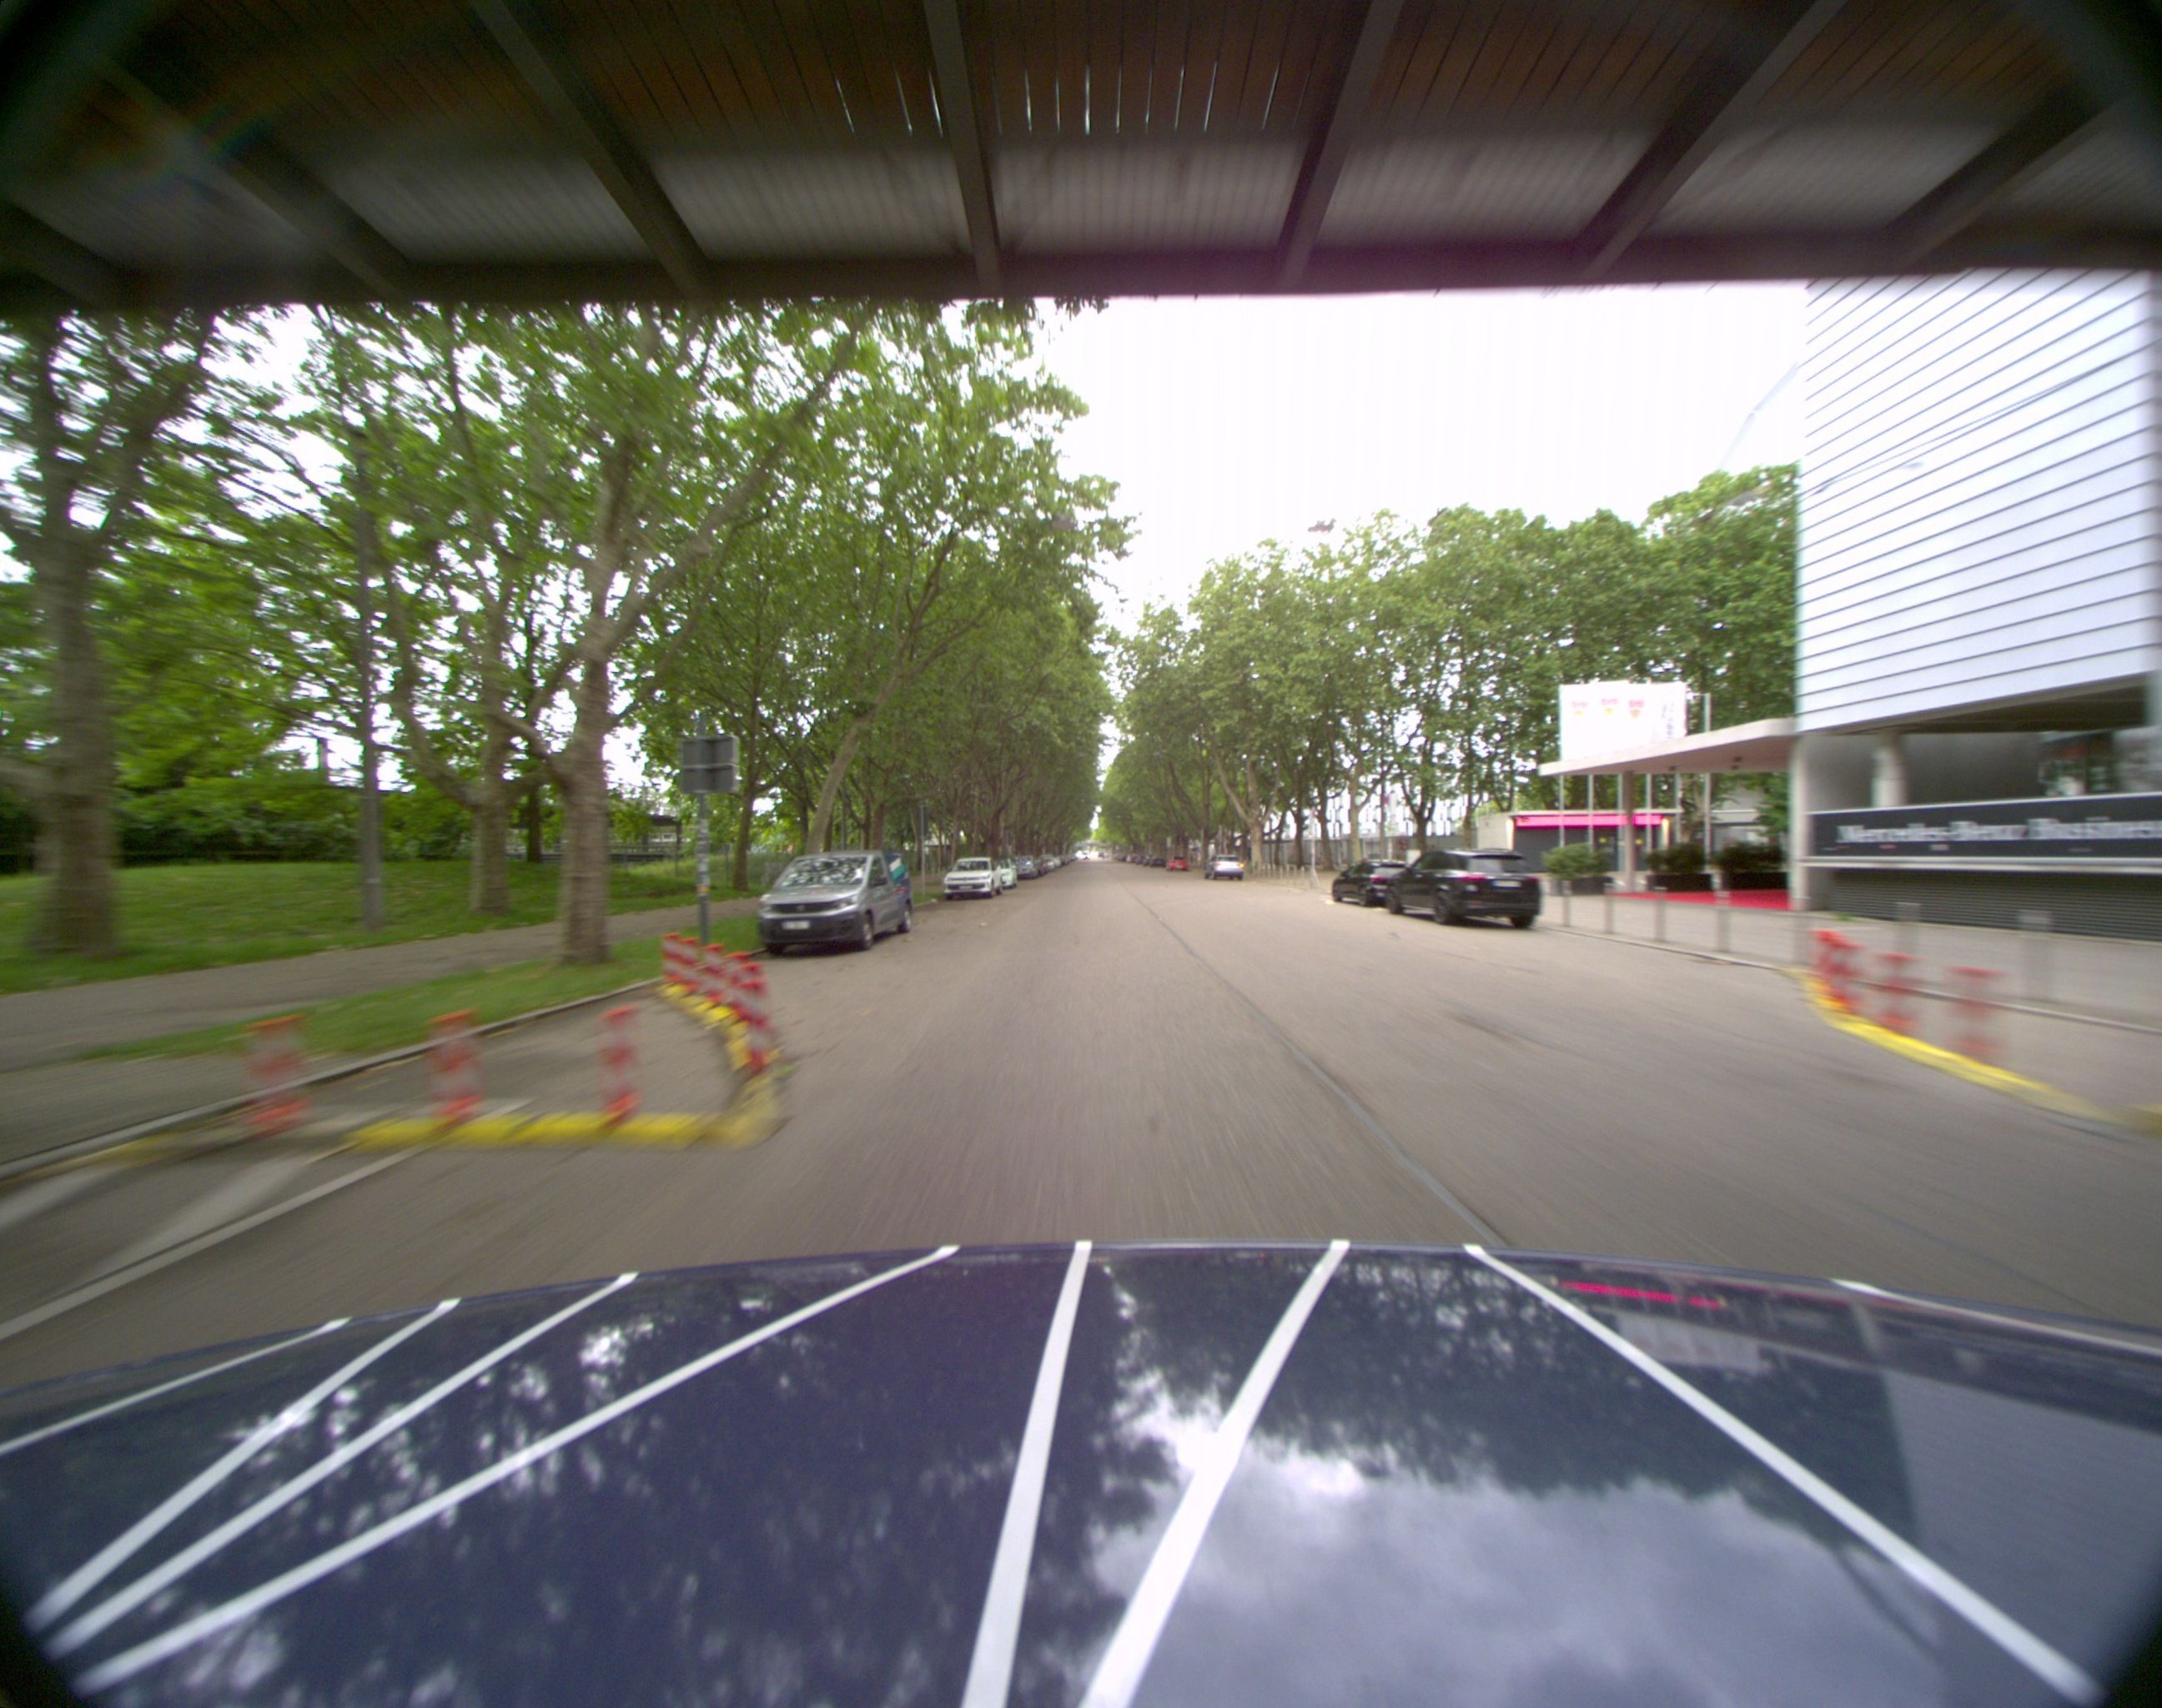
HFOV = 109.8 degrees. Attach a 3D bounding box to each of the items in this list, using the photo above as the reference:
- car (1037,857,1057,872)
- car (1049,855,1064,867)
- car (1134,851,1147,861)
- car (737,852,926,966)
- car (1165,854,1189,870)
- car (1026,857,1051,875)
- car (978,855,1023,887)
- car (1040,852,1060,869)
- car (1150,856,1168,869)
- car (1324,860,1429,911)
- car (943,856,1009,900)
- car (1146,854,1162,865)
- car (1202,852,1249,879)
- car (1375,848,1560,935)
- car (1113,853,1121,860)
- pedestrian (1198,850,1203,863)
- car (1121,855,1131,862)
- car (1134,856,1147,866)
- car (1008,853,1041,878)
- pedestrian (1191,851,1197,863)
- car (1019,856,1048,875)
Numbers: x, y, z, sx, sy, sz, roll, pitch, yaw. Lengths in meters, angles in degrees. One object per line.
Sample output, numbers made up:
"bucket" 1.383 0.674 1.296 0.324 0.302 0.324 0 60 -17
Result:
"car" -3.488 1.079 78.334 1.882 1.419 4.586 -1 0 0
"car" -3.171 0.908 97.960 1.711 1.419 3.889 -2 0 1
"car" 10.719 0.374 136.144 1.954 1.740 4.638 1 0 0
"car" -4.572 0.894 14.927 1.852 1.772 5.211 -2 0 1
"car" 8.937 0.731 71.222 1.813 1.346 4.000 -1 0 1
"car" -3.741 1.063 67.447 1.861 1.473 4.177 -1 0 0
"car" -4.115 0.832 39.338 1.812 1.517 4.095 -1 0 1
"car" -3.433 0.696 84.972 1.907 1.728 4.506 -1 0 1
"car" 9.164 0.951 89.137 1.831 1.457 4.628 0 0 3
"car" 9.263 0.921 24.227 1.709 1.411 4.325 2 0 1
"car" -4.178 0.913 30.967 1.919 1.608 4.749 -1 0 1
"car" 9.705 0.708 101.017 1.882 1.518 4.151 0 0 1
"car" 8.918 0.686 47.167 2.078 1.554 4.756 -1 0 1
"car" 9.112 0.799 18.513 2.039 1.779 4.908 2 0 1
"car" 9.746 0.720 203.582 1.900 1.785 4.612 2 0 0
"pedestrian" 16.617 0.355 105.311 0.575 1.732 0.768 -1 0 15
"car" 9.993 1.036 168.540 1.838 1.485 4.443 2 0 1
"car" 9.276 1.019 118.493 1.729 1.477 4.575 -1 0 1
"car" -3.925 0.783 53.501 1.986 1.670 4.731 -1 0 0
"pedestrian" 15.689 0.428 105.491 0.577 1.759 0.768 -1 0 15
"car" -3.752 0.883 60.767 1.881 1.419 4.480 -1 0 1
